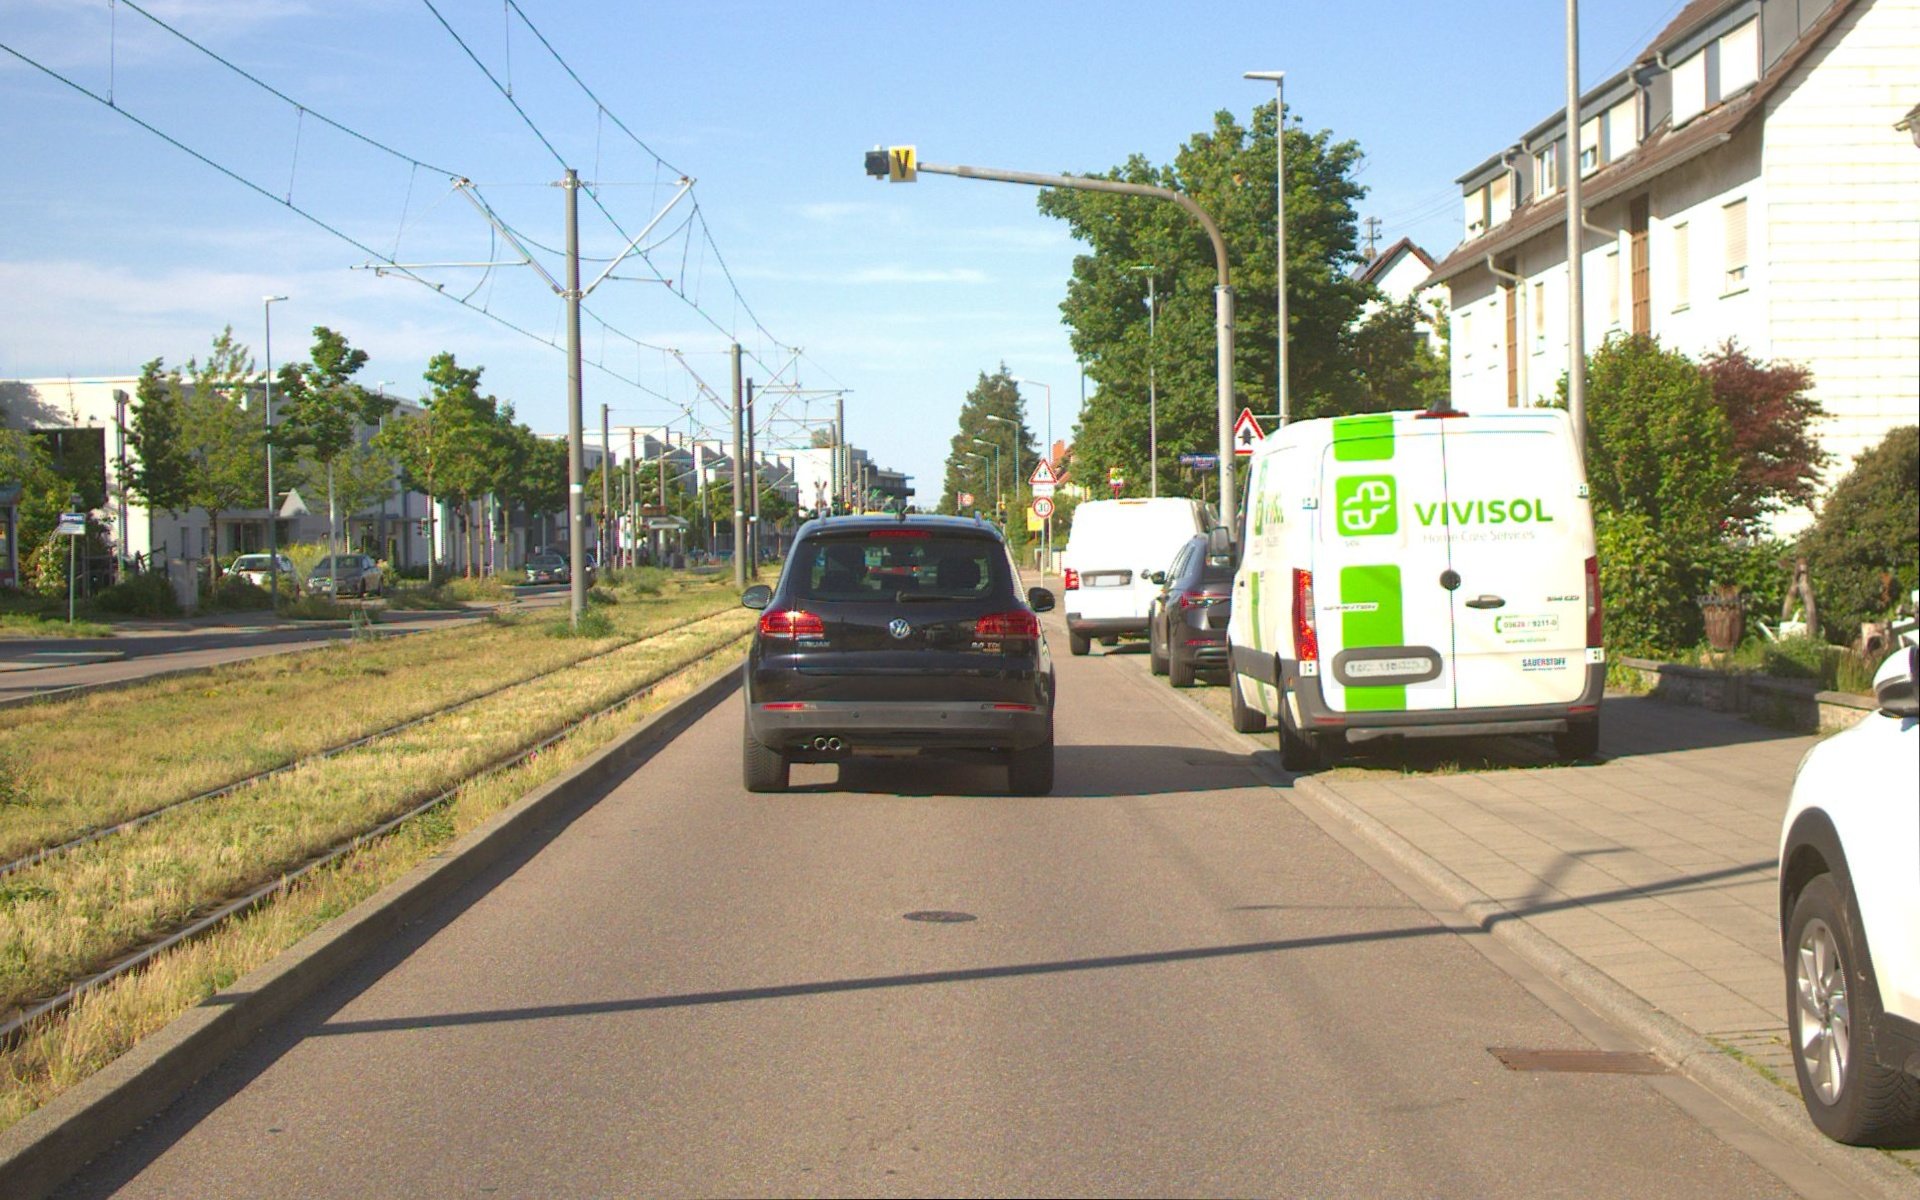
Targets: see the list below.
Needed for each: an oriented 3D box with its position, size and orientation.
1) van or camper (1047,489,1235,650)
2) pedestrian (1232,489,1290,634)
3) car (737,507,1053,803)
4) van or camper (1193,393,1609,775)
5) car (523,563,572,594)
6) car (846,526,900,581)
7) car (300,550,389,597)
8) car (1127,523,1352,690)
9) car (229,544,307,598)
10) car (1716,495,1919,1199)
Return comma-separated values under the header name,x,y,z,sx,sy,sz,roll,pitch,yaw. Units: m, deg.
name,x,y,z,sx,sy,sz,roll,pitch,yaw
van or camper,2.446,-0.438,45.076,2.028,1.949,5.294,-1,1,7
pedestrian,3.991,-0.509,45.537,0.699,1.905,0.758,1,1,8
car,-0.451,0.287,21.478,1.775,1.664,4.000,1,1,-2
van or camper,2.923,-0.143,24.264,1.993,2.263,6.305,-2,1,0
car,-19.495,-1.030,162.566,1.688,1.384,4.388,-3,1,1
car,-4.138,-2.234,164.067,2.394,2.556,5.530,-1,1,0
car,-19.700,-0.875,110.143,1.811,1.456,4.317,1,1,4
car,2.728,0.024,34.610,1.748,1.489,5.155,-2,1,0
car,-19.548,-0.843,97.273,1.544,1.486,3.775,1,1,-2
car,2.967,0.568,7.162,1.725,1.640,4.319,-2,1,-1
